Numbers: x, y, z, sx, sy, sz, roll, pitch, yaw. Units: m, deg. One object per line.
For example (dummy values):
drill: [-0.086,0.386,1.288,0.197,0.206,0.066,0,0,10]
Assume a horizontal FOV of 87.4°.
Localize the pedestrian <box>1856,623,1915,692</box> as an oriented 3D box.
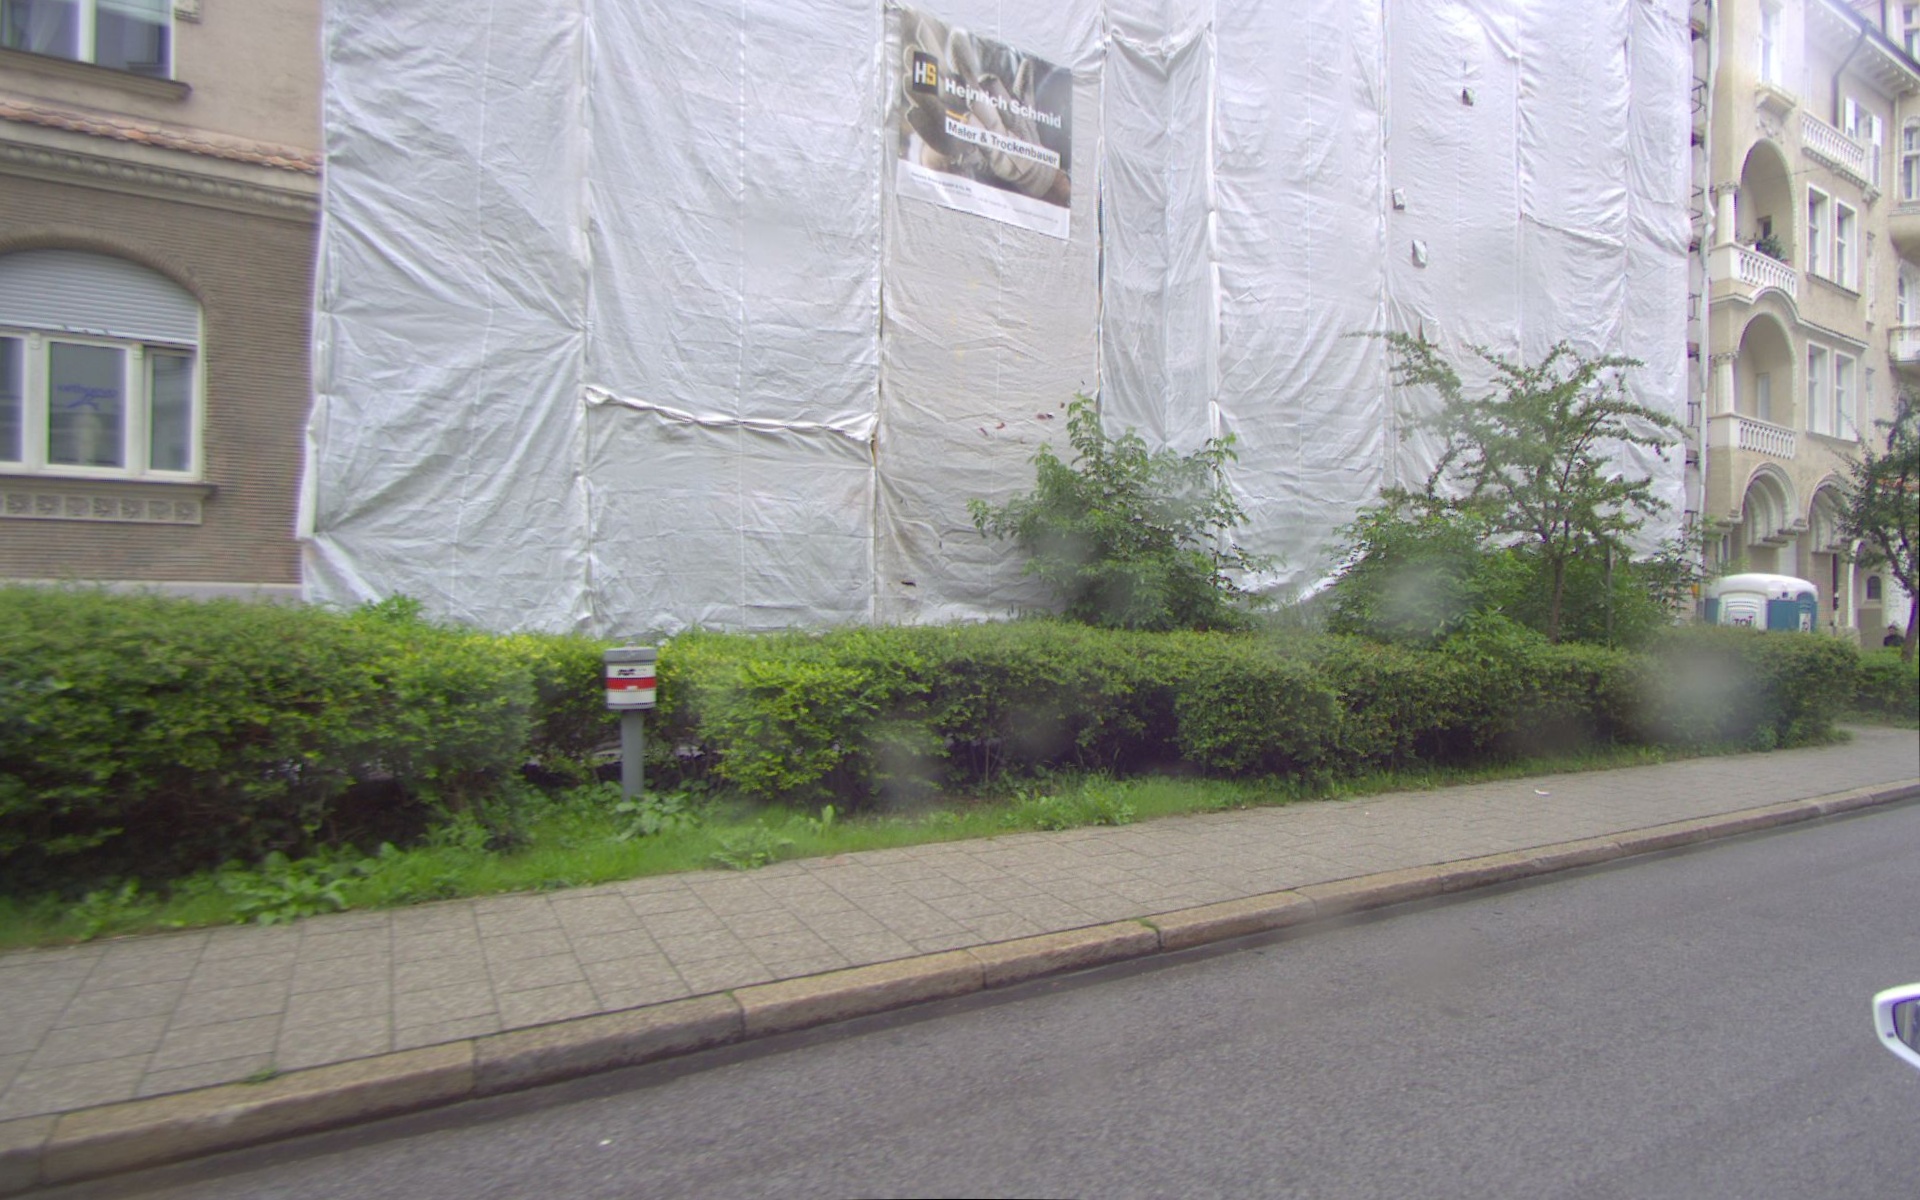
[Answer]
pedestrian: [24.502,1.513,26.606,0.937,1.774,0.909,1,-2,-30]
